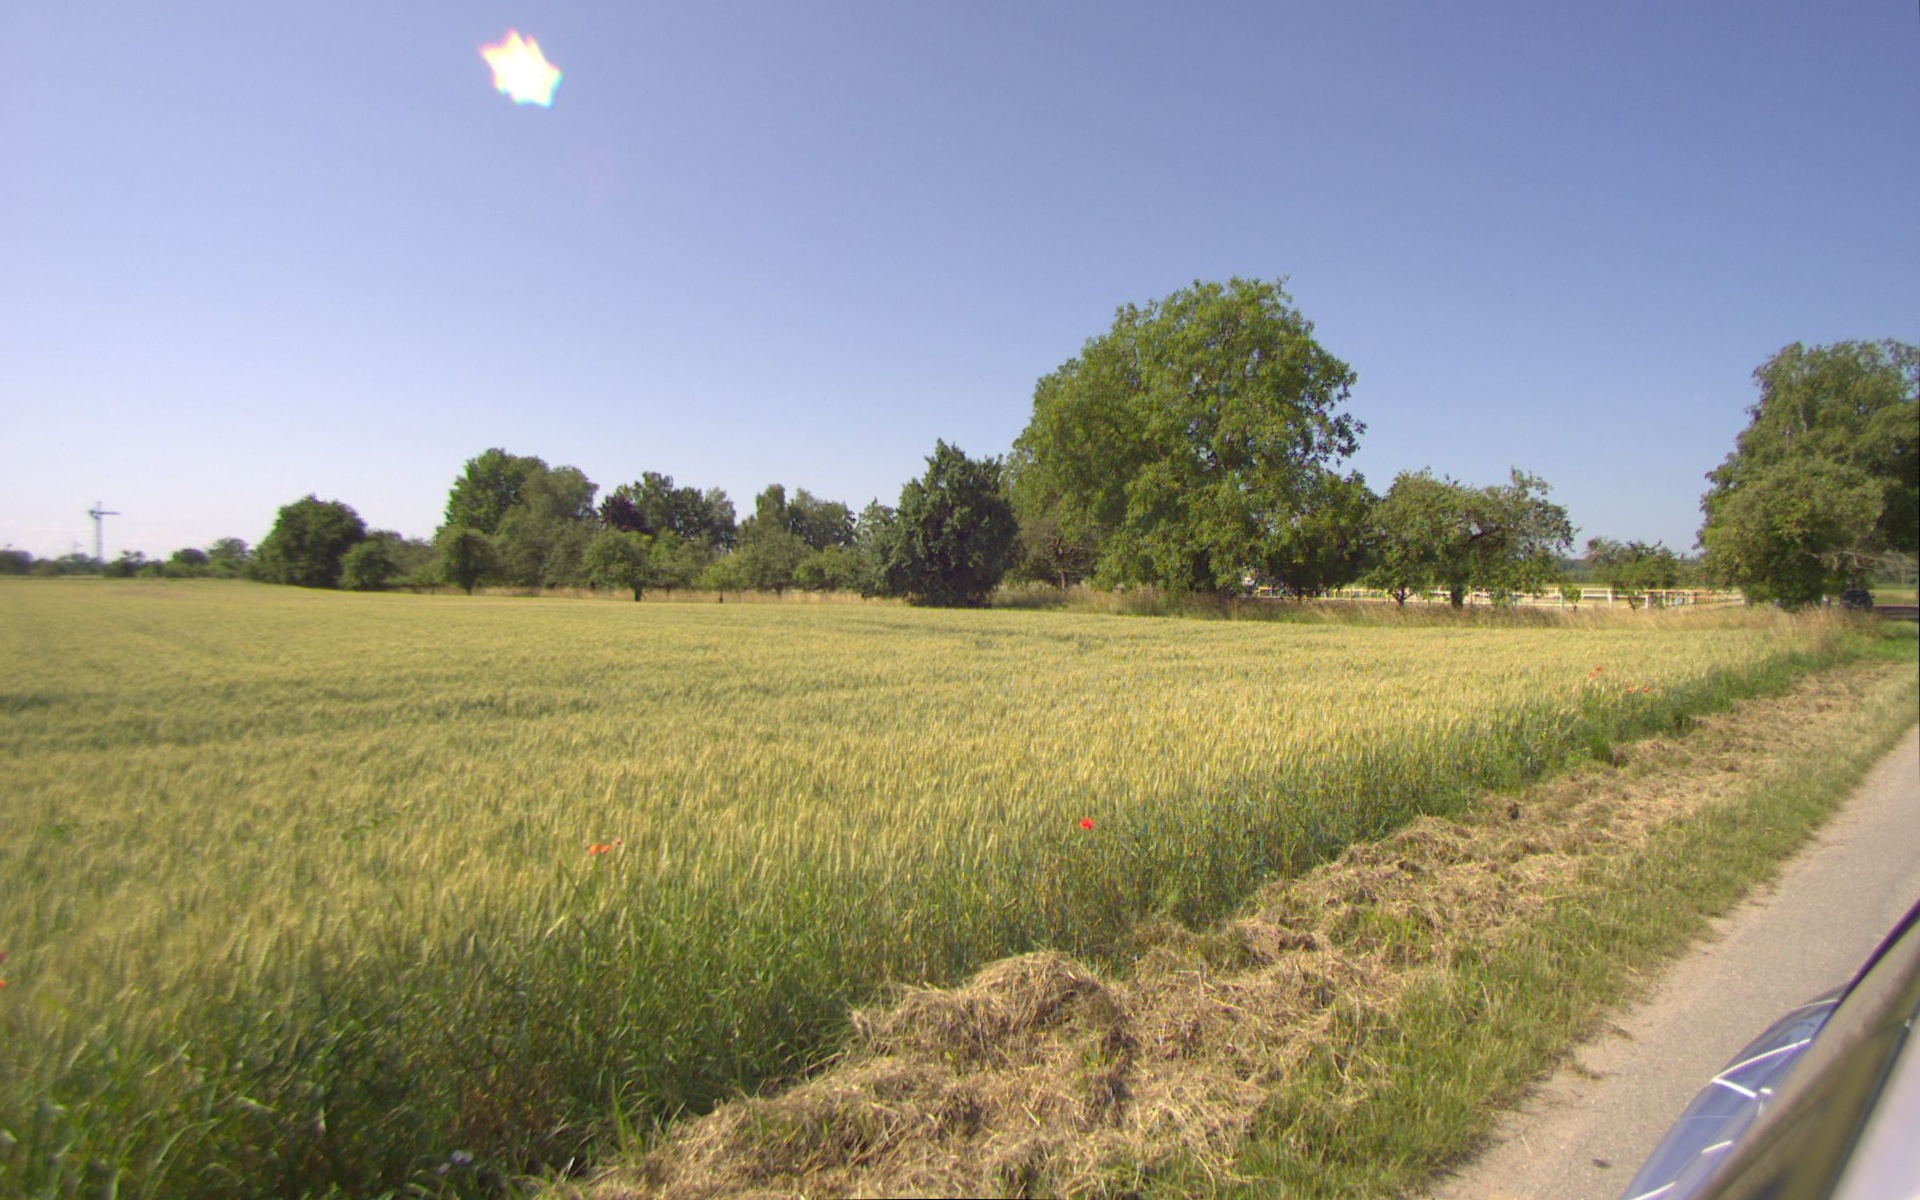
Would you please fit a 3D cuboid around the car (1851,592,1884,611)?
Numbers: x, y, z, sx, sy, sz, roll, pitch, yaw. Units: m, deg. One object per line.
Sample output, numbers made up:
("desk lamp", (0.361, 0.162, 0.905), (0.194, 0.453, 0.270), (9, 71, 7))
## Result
("car", (69.942, 0.098, 77.994), (1.715, 1.336, 3.690), (1, 1, 40))
